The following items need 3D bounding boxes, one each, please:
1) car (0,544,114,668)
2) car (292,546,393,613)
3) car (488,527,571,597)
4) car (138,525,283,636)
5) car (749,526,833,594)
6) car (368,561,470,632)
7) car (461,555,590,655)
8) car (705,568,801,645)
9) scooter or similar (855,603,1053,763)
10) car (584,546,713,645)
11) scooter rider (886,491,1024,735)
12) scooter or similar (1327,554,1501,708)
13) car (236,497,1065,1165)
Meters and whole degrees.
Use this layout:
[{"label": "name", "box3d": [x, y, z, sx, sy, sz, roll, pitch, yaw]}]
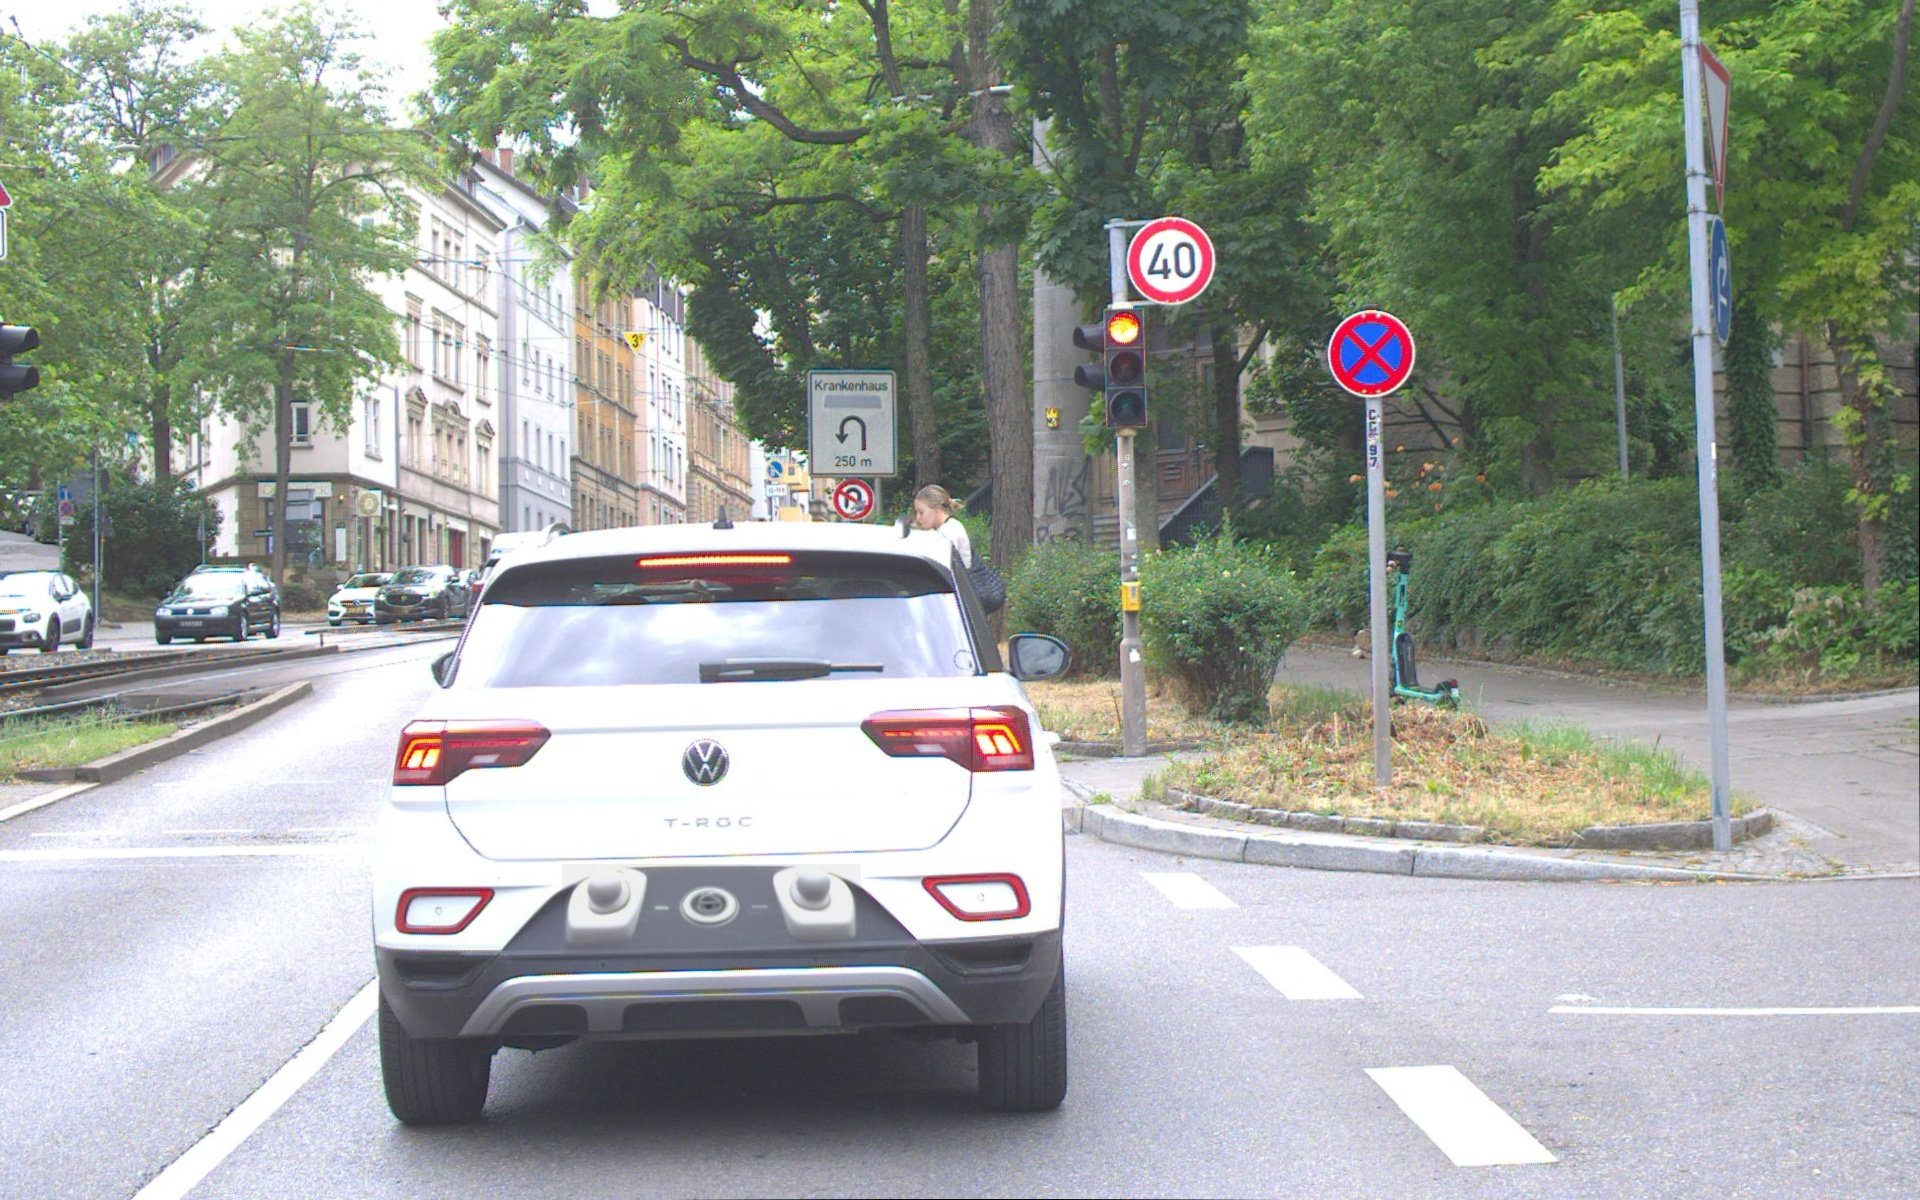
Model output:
[{"label": "car", "box3d": [-16.110, 0.122, 59.327, 1.993, 2.007, 4.000, 2, -2, 0]}, {"label": "car", "box3d": [-16.658, -0.526, 92.901, 1.993, 1.618, 4.000, 2, -2, -1]}, {"label": "car", "box3d": [-12.959, -1.151, 103.579, 1.993, 2.007, 4.000, -2, 1, -1]}, {"label": "car", "box3d": [-14.847, -0.351, 68.342, 1.993, 2.007, 4.000, 2, -2, -1]}, {"label": "car", "box3d": [-5.689, -1.368, 116.403, 2.422, 2.162, 6.033, -2, 1, 1]}, {"label": "car", "box3d": [-13.782, -0.070, 87.752, 1.993, 1.618, 4.000, 2, -2, -1]}, {"label": "car", "box3d": [-8.037, 0.125, 63.934, 1.839, 1.734, 4.000, -1, -1, 0]}, {"label": "car", "box3d": [-4.765, 0.174, 79.651, 1.993, 1.618, 4.000, 2, -2, -1]}, {"label": "scooter or similar", "box3d": [-0.032, 0.537, 22.422, 1.187, 0.991, 0.531, -2, 1, 10]}, {"label": "car", "box3d": [-5.375, -0.052, 59.797, 1.902, 1.569, 3.834, 2, -2, -1]}, {"label": "scooter rider", "box3d": [-0.027, 0.080, 22.407, 0.778, 1.552, 0.532, -2, 1, 9]}, {"label": "scooter or similar", "box3d": [3.353, 0.227, 25.462, 0.474, 1.096, 1.369, -2, 1, -33]}, {"label": "car", "box3d": [-0.712, 0.521, 10.088, 1.938, 1.561, 4.046, 0, 1, 0]}]
